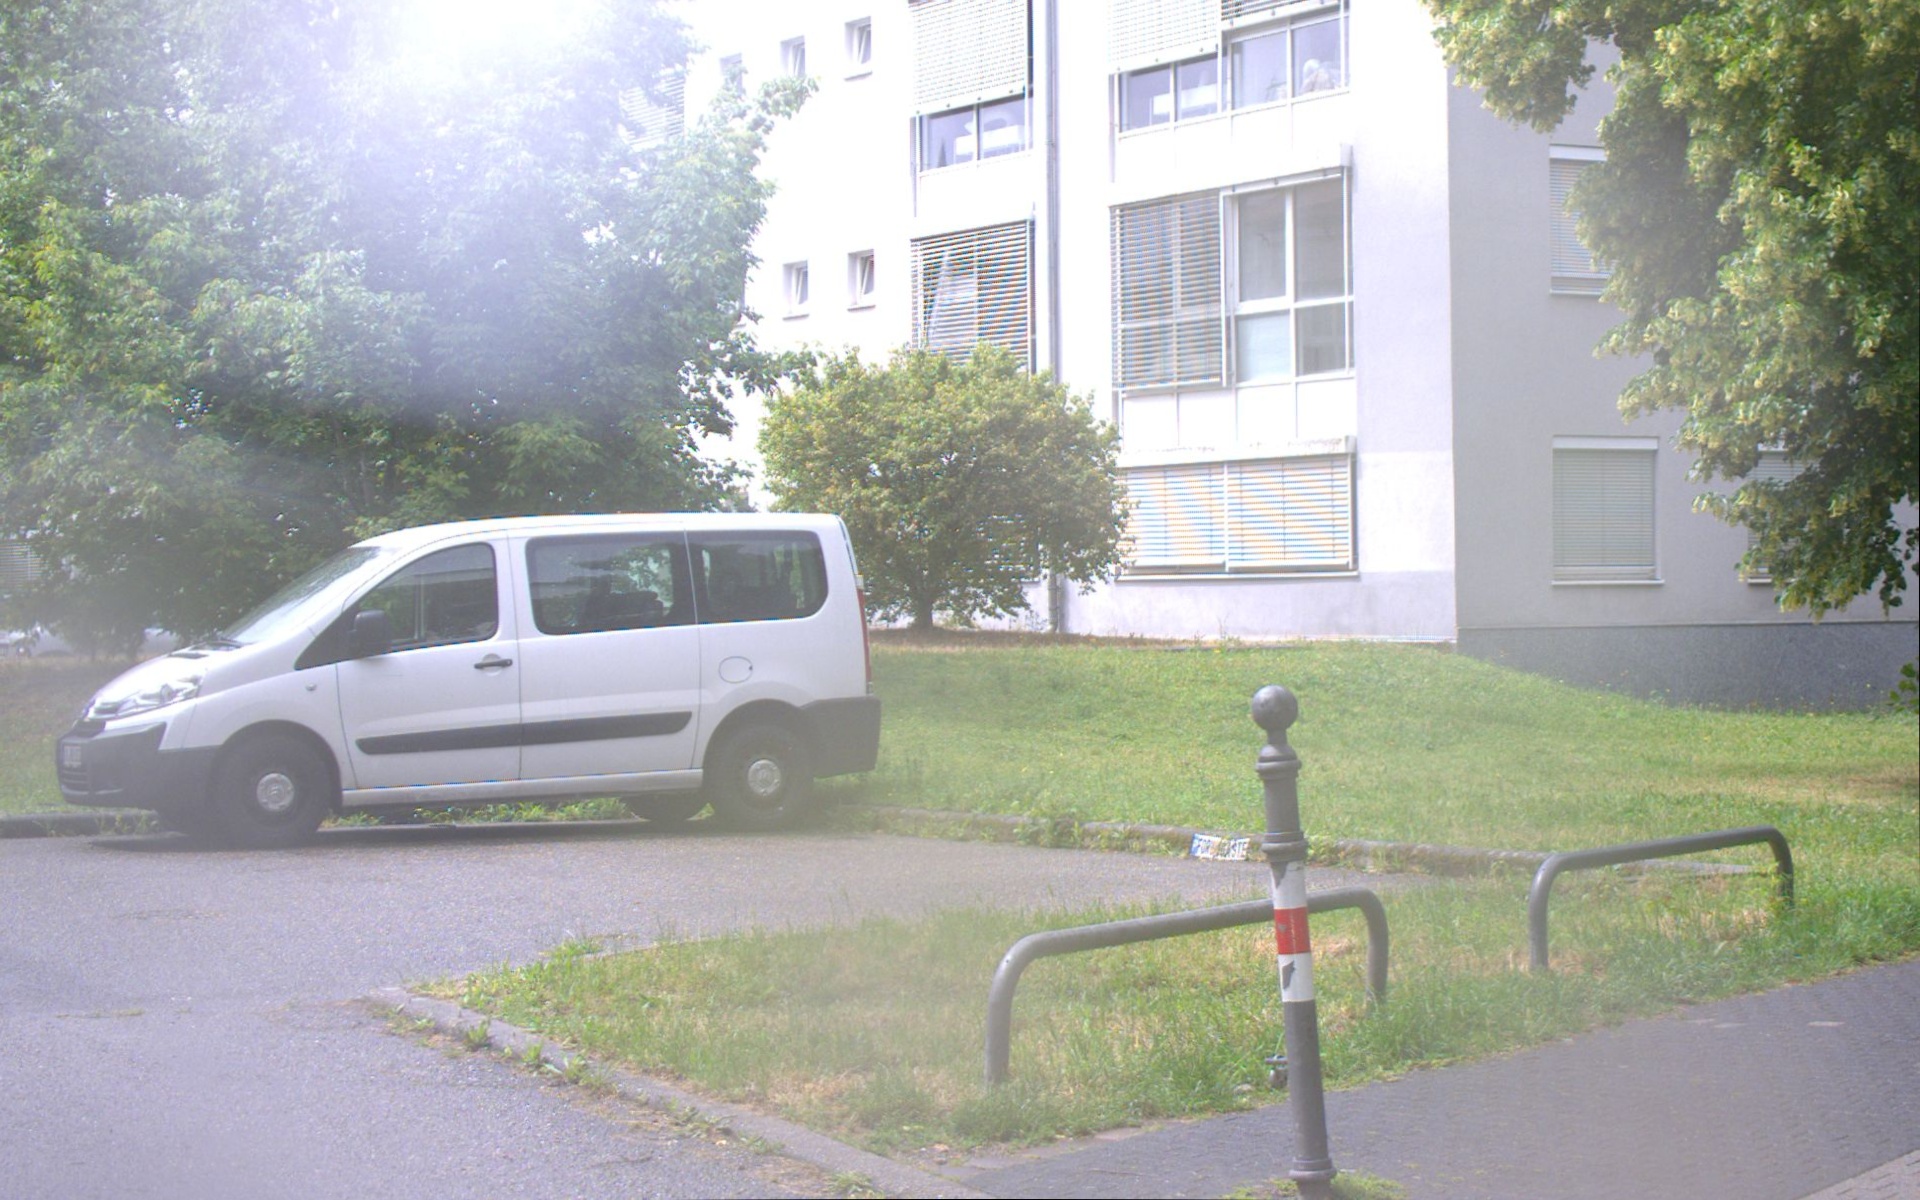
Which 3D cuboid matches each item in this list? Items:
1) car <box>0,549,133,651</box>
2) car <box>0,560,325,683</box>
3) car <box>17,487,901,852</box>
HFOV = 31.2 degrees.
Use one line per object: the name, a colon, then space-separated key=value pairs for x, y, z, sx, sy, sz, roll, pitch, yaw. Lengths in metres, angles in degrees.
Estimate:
car: x=-14.661 y=0.024 z=51.336 sx=4.098 sy=1.450 sz=1.833 roll=-2 pitch=1 yaw=-31
car: x=-10.333 y=0.260 z=43.869 sx=3.987 sy=1.350 sz=1.791 roll=-3 pitch=1 yaw=-28
car: x=-3.024 y=0.374 z=20.837 sx=4.935 sy=2.007 sz=2.000 roll=0 pitch=0 yaw=-24
